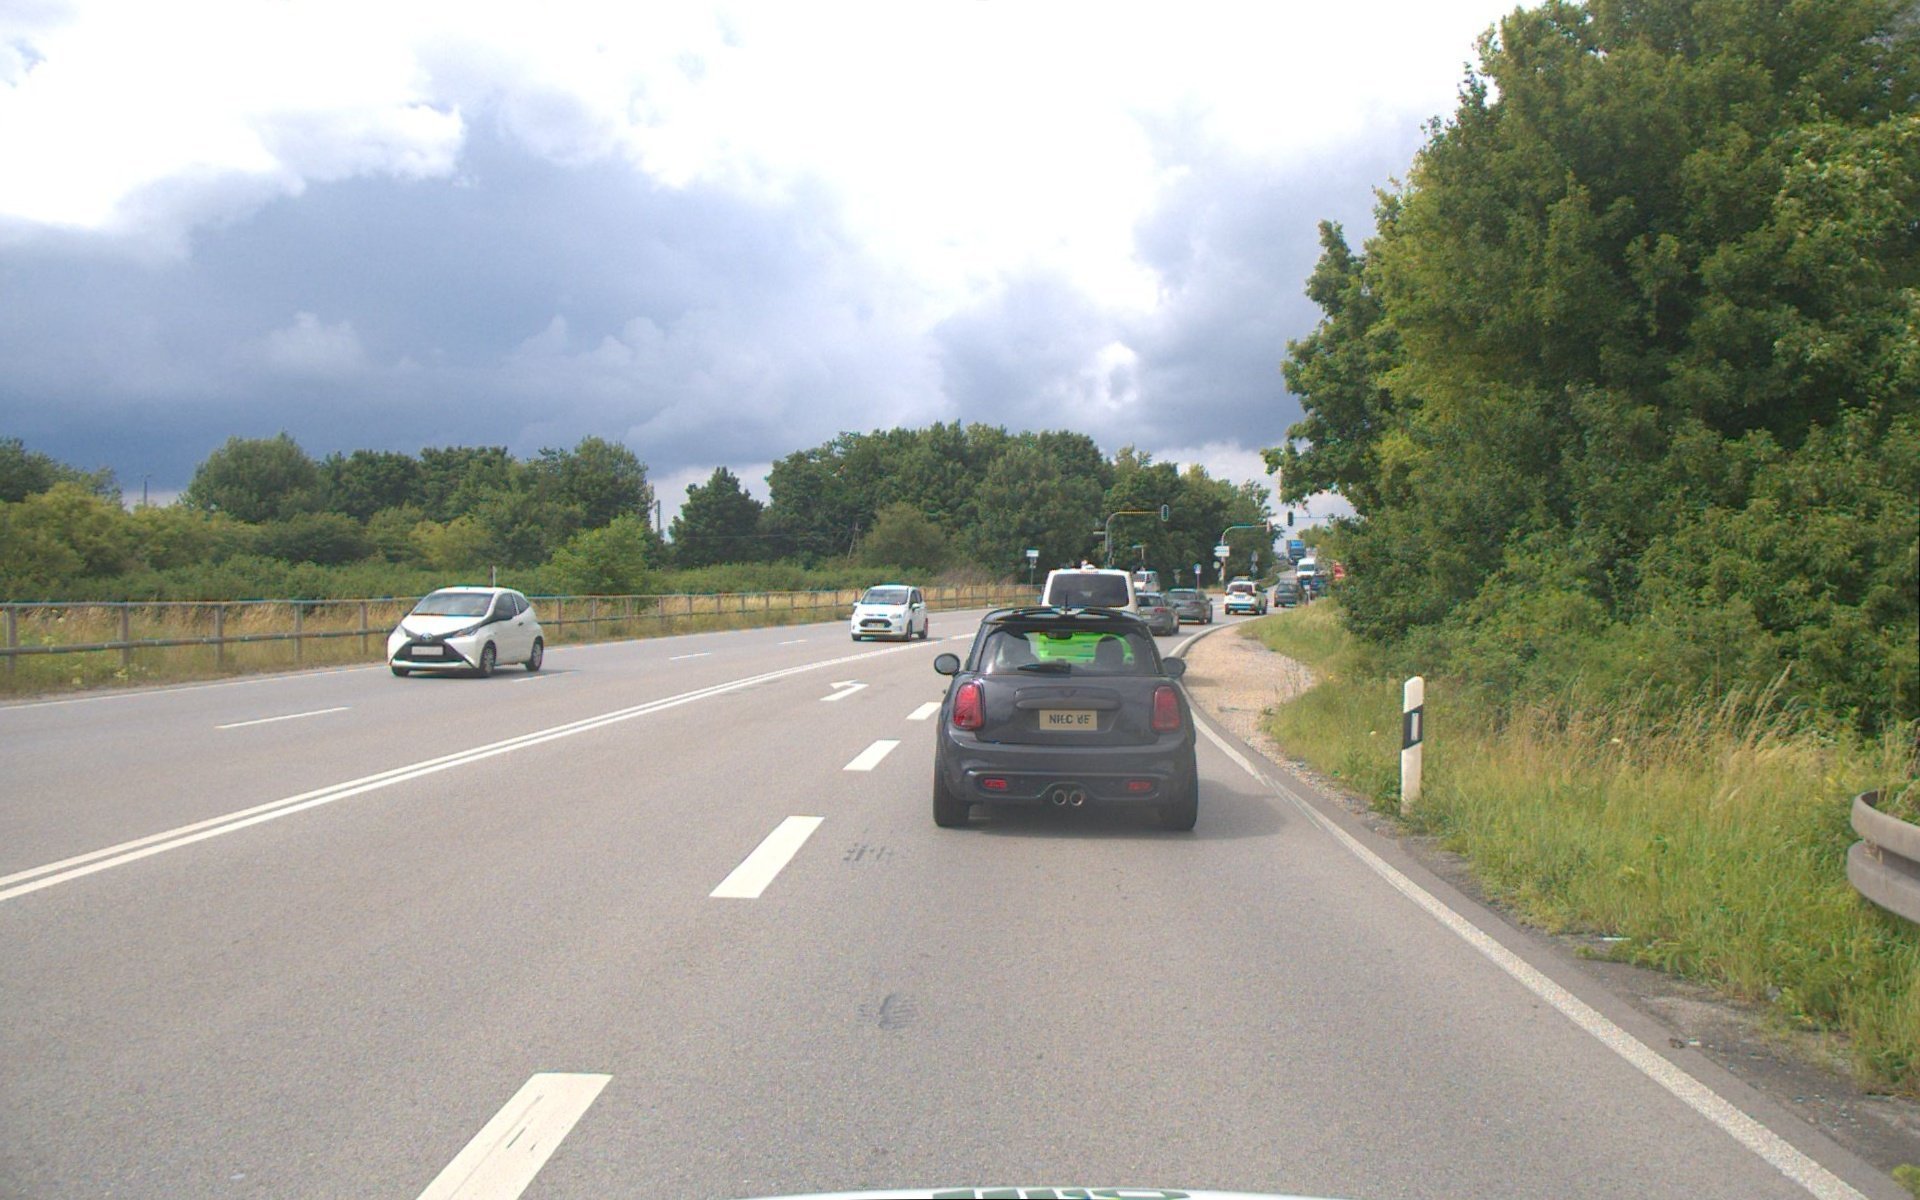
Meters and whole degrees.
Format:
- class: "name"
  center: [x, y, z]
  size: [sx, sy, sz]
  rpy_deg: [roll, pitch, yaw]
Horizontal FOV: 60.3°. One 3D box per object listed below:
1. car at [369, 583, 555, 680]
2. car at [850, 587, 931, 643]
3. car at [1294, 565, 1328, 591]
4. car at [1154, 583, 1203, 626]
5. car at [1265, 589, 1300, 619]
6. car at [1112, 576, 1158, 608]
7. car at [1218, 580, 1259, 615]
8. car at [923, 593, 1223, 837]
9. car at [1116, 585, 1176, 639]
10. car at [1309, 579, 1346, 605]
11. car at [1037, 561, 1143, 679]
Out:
- class: "car"
  center: [-8.379, 0.484, 28.181]
  size: [1.837, 1.515, 3.745]
  rpy_deg: [1, 0, 3]
- class: "car"
  center: [-1.996, 0.417, 48.549]
  size: [1.693, 1.544, 4.003]
  rpy_deg: [2, 0, 7]
- class: "car"
  center: [37.009, -2.292, 174.149]
  size: [2.384, 2.721, 6.888]
  rpy_deg: [1, 1, 22]
- class: "car"
  center: [9.255, 0.192, 69.956]
  size: [1.951, 1.713, 3.980]
  rpy_deg: [2, 0, 7]
- class: "car"
  center: [19.442, 0.231, 99.908]
  size: [1.951, 1.713, 4.003]
  rpy_deg: [2, 0, 10]
- class: "car"
  center: [11.392, -0.534, 107.434]
  size: [1.952, 2.049, 4.668]
  rpy_deg: [1, 1, 20]
- class: "car"
  center: [14.397, -0.105, 85.446]
  size: [1.951, 1.713, 4.003]
  rpy_deg: [2, 0, 11]
- class: "car"
  center: [0.787, 0.711, 12.027]
  size: [1.806, 1.453, 3.842]
  rpy_deg: [1, 0, 3]
- class: "car"
  center: [6.370, 0.412, 56.984]
  size: [1.951, 1.713, 4.002]
  rpy_deg: [2, 0, 5]
- class: "car"
  center: [25.874, -0.569, 116.235]
  size: [1.952, 1.725, 4.487]
  rpy_deg: [1, 1, 20]
- class: "car"
  center: [2.414, 0.352, 30.829]
  size: [1.806, 2.022, 3.843]
  rpy_deg: [1, 0, 4]
